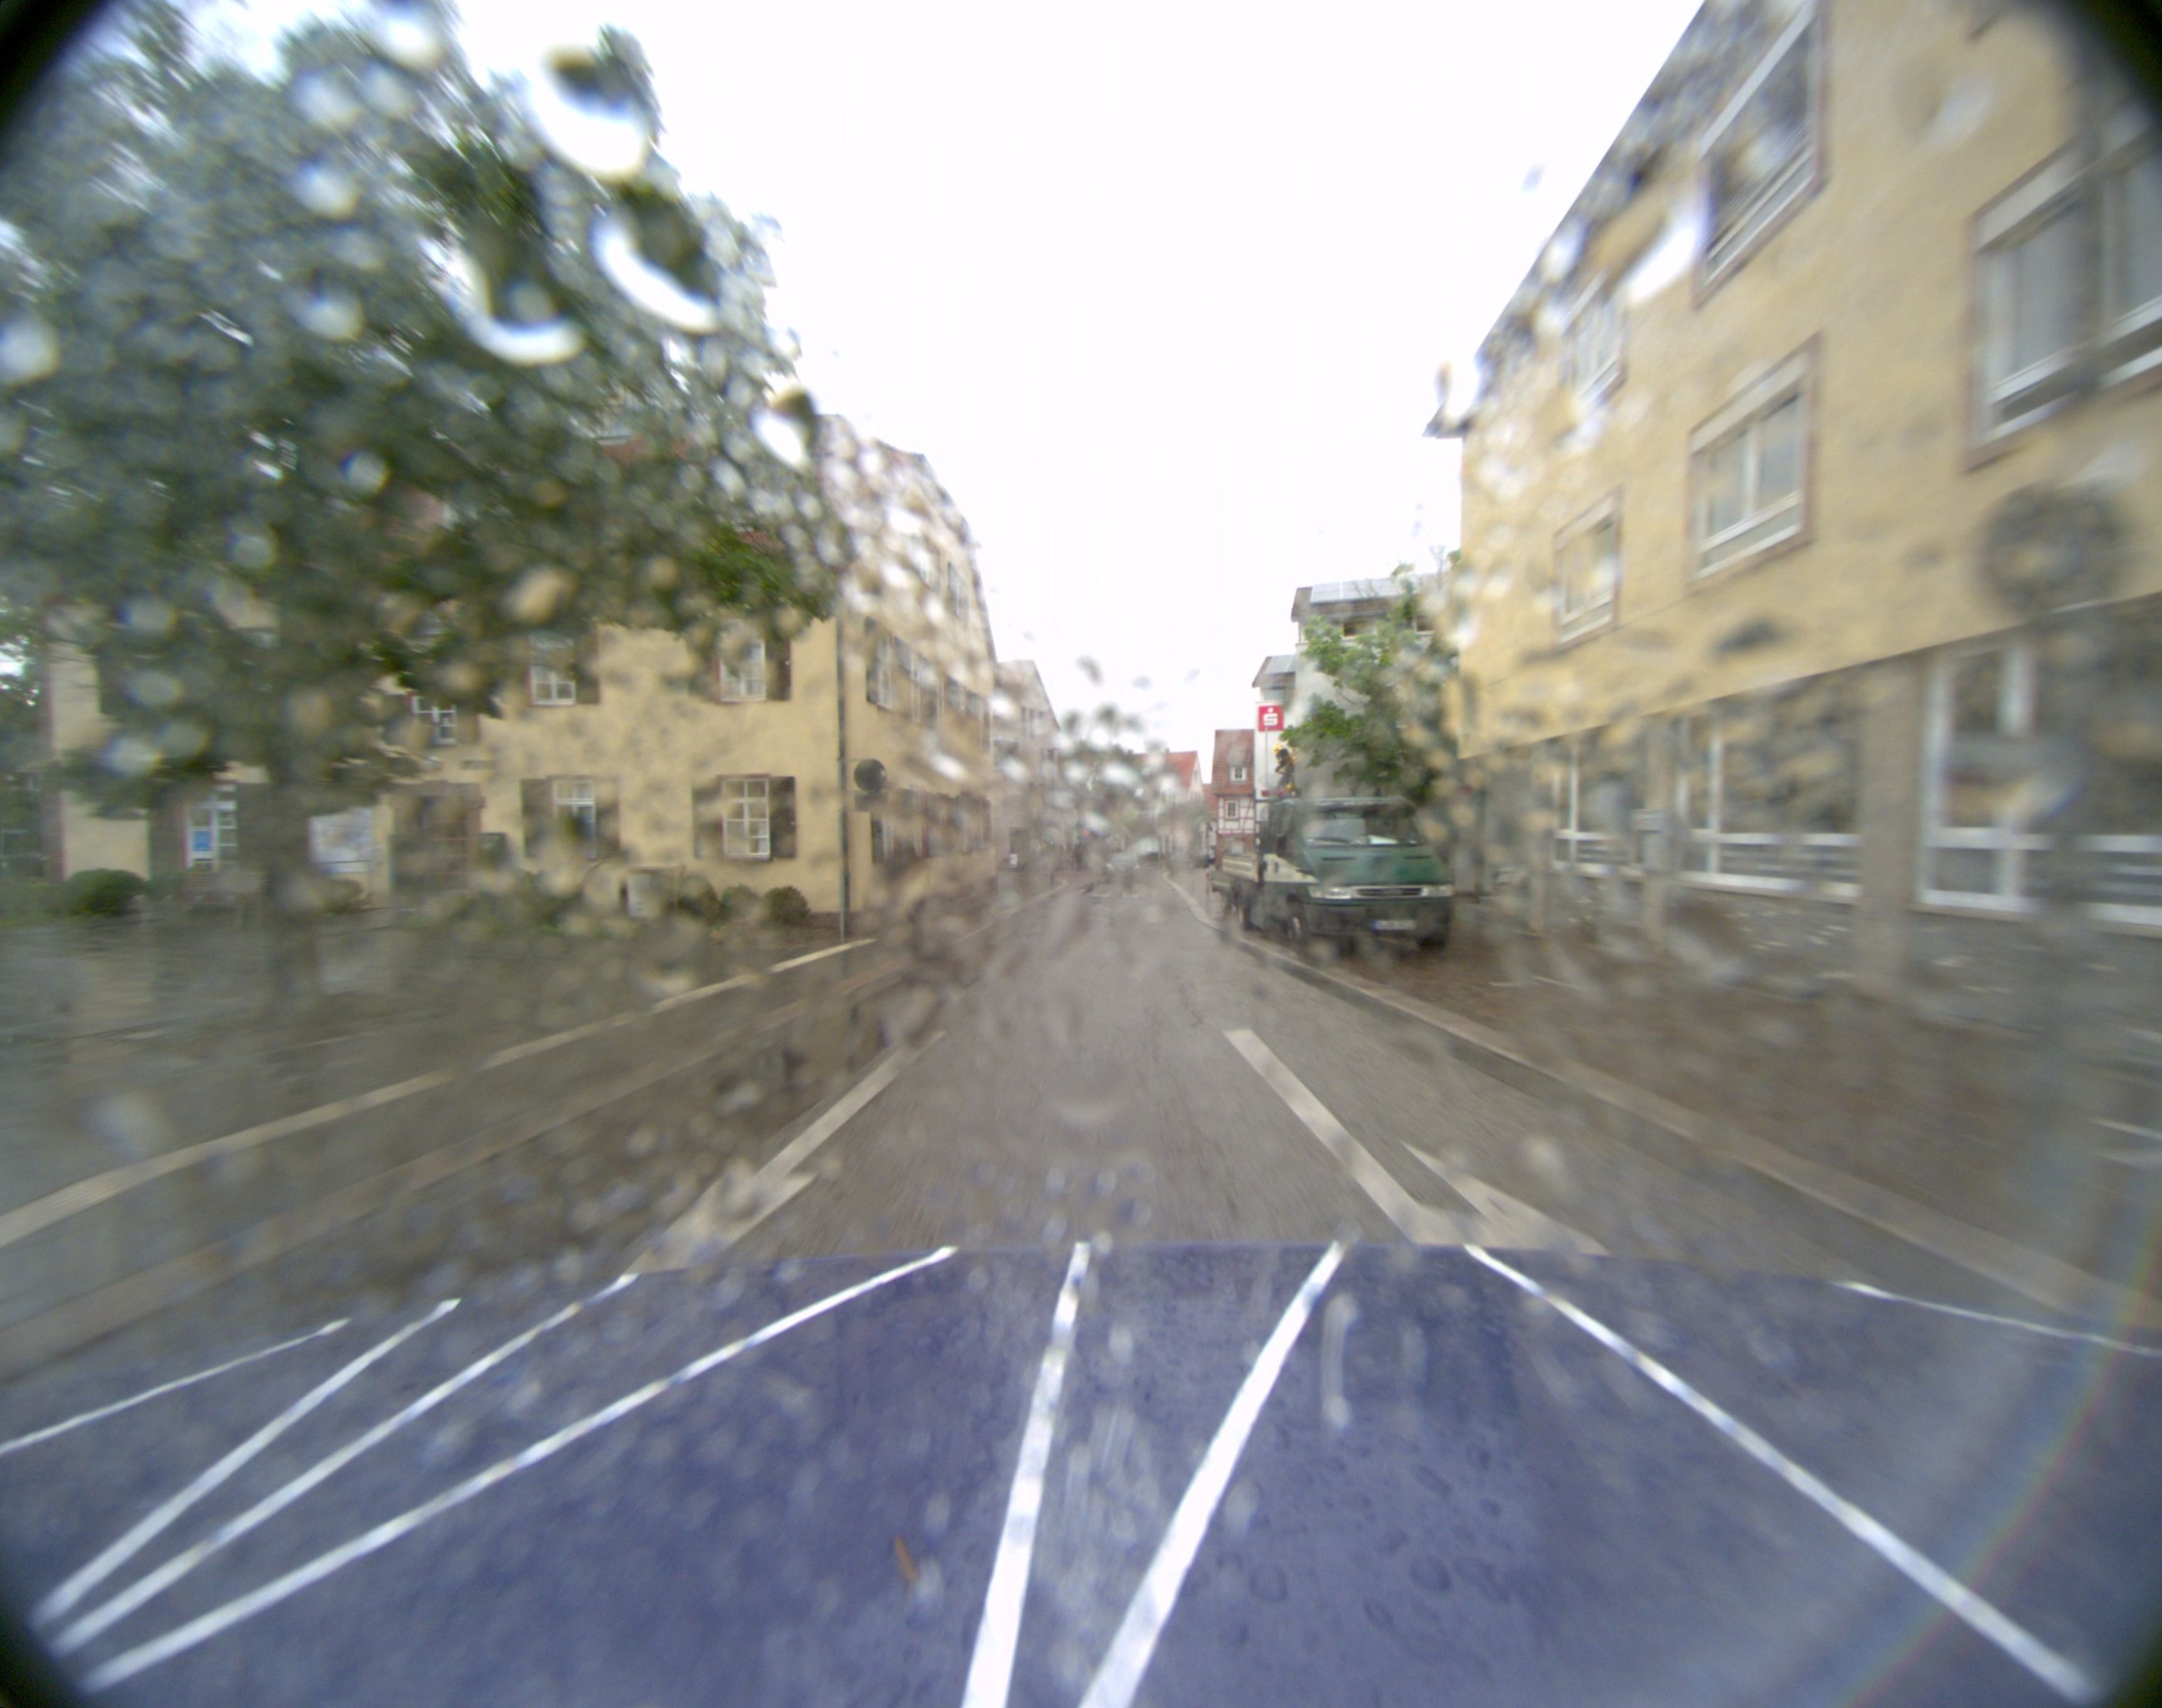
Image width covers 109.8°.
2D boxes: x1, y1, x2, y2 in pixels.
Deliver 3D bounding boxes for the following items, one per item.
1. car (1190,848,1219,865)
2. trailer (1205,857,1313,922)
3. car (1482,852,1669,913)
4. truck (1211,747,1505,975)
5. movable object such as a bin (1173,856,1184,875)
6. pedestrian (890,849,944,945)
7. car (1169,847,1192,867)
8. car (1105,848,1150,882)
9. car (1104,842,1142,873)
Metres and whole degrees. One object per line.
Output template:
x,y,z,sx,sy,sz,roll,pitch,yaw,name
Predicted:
11.829,0.199,72.481,1.996,1.520,4.005,-2,0,19,car
3.980,0.745,17.459,1.732,1.339,3.160,1,0,0,trailer
13.758,0.742,21.433,3.991,1.555,1.968,1,1,17,car
3.959,0.099,12.609,2.479,2.778,6.599,1,0,0,truck
5.690,0.657,44.347,0.659,1.090,0.613,1,2,8,movable object such as a bin
-2.962,0.755,13.804,0.715,1.683,0.868,0,1,7,pedestrian
8.006,0.225,61.108,1.693,1.477,4.001,0,1,6,car
2.293,0.534,36.974,1.735,1.546,3.848,1,0,10,car
2.642,0.185,46.512,1.997,1.740,4.002,1,1,7,car
